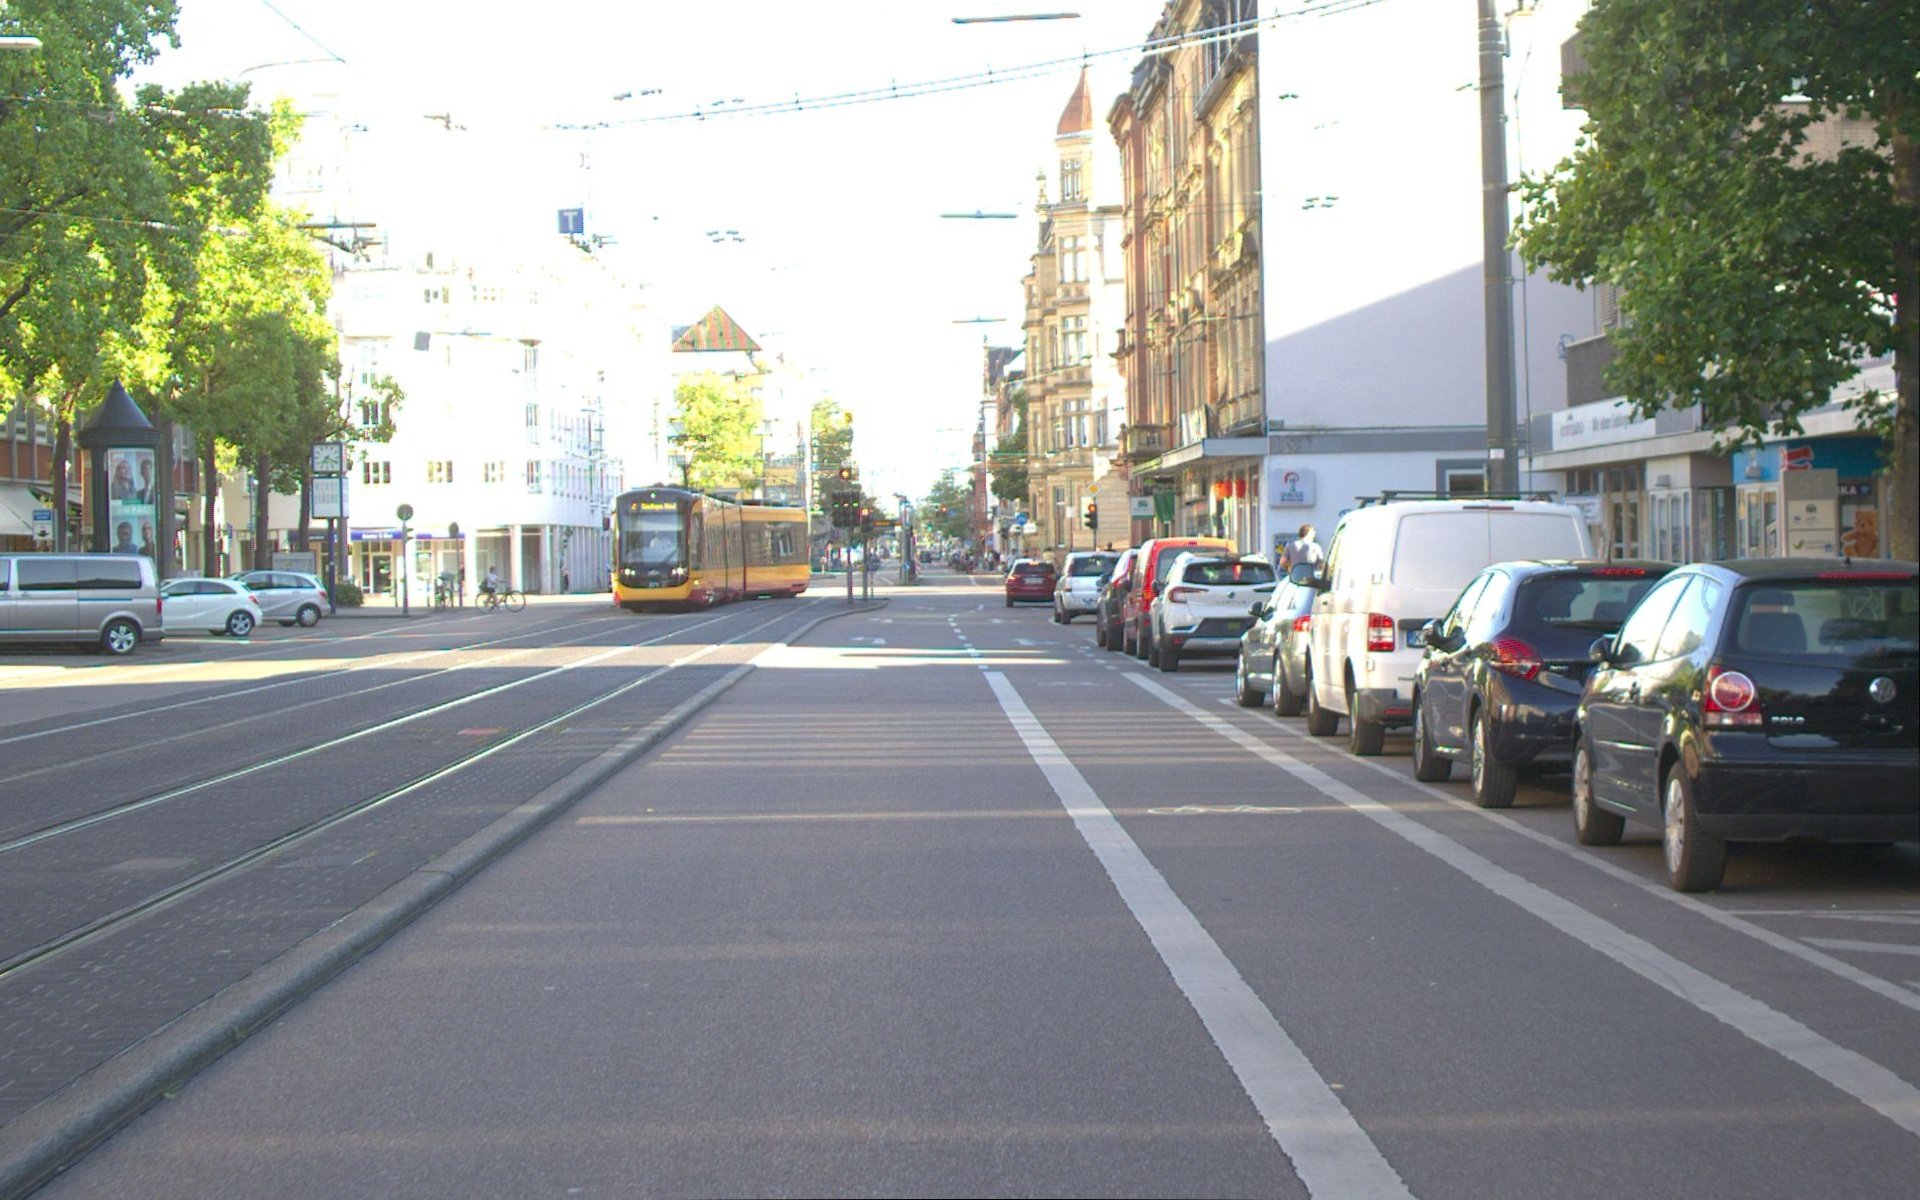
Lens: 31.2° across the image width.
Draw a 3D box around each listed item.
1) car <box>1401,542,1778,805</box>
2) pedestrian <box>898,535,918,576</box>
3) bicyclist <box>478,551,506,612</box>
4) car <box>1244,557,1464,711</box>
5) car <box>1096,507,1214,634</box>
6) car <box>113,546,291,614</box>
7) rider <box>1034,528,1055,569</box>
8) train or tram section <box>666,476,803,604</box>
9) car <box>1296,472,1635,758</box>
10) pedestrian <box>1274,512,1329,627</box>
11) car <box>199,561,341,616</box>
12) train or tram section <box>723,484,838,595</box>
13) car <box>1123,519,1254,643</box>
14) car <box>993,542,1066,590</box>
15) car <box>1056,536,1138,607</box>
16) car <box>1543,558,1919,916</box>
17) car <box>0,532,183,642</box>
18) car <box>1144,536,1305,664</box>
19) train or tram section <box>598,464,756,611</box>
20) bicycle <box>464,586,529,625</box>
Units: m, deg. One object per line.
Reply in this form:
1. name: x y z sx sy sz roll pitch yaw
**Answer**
1. car: 3.859 0.386 21.671 1.621 1.468 3.971 0 1 0
2. pedestrian: -2.568 -2.199 168.791 0.920 2.007 0.759 1 1 0
3. bicyclist: -15.539 -0.611 114.150 0.722 2.007 0.700 1 1 6
4. car: 3.812 0.290 33.805 1.621 1.366 3.931 1 1 -1
5. car: 3.177 -0.514 56.593 1.621 2.000 3.831 1 1 -1
6. car: -18.672 -0.496 84.713 3.869 1.622 1.876 0 2 -31
7. rider: 3.051 -1.860 124.785 0.710 1.476 0.886 1 1 -1
8. train or tram section: -7.201 -1.983 111.732 2.692 3.865 12.843 1 1 4
9. car: 3.931 0.054 27.495 1.971 2.007 4.558 -3 1 0
10. pedestrian: 5.166 -0.466 51.997 0.730 1.716 0.835 -1 1 0
11. car: -19.096 -0.336 95.130 3.519 1.476 1.582 0 2 -32
12. train or tram section: -6.370 -2.205 123.815 2.692 3.739 11.287 1 1 4
13. car: 3.443 -0.323 52.349 1.621 1.807 4.083 1 1 -1
14. car: 2.121 -1.051 105.706 2.065 1.384 4.225 1 1 -1
15. car: 3.120 -0.685 78.870 1.621 1.550 4.083 1 1 -1
16. car: 3.930 0.548 16.339 1.621 1.426 3.985 -1 1 0
17. car: -17.735 -0.238 65.429 5.252 2.035 2.419 0 0 -32
18. car: 3.516 -0.037 46.263 1.723 1.562 4.083 -2 1 -1
19. train or tram section: -8.041 -1.824 99.260 2.692 3.946 12.089 1 1 4
20. bicycle: -15.396 0.193 114.166 2.020 1.235 0.700 1 1 6
